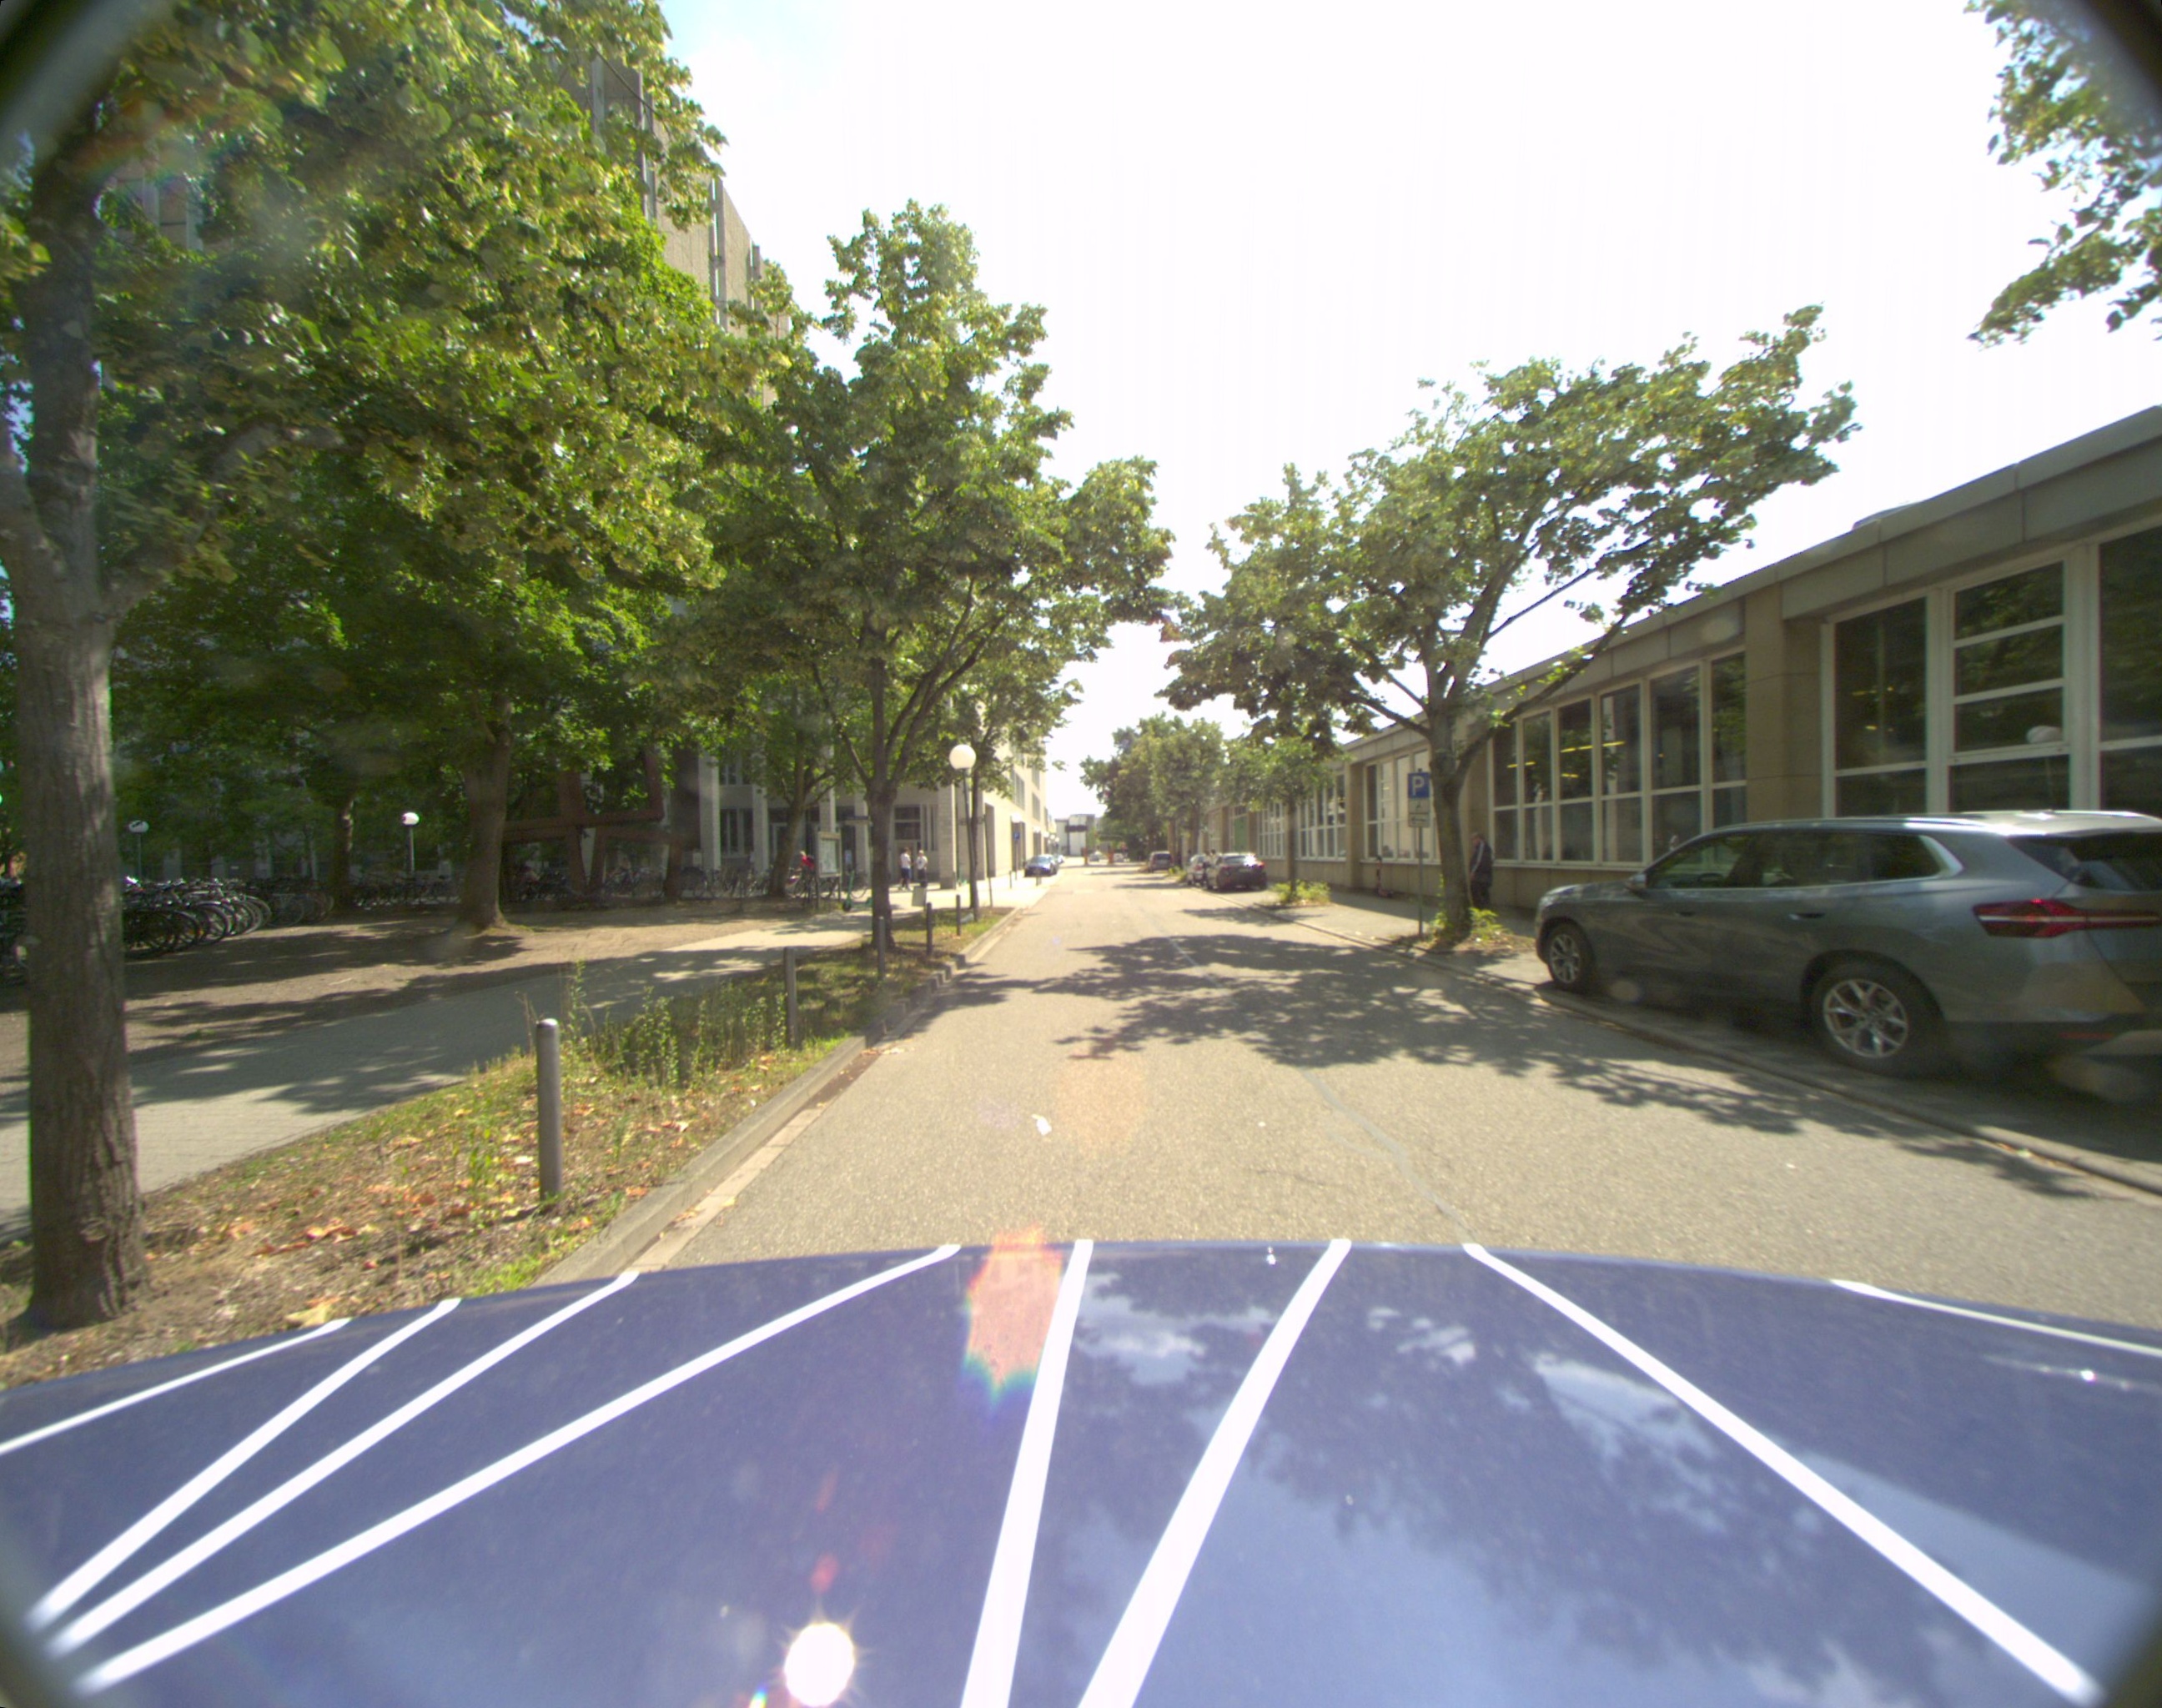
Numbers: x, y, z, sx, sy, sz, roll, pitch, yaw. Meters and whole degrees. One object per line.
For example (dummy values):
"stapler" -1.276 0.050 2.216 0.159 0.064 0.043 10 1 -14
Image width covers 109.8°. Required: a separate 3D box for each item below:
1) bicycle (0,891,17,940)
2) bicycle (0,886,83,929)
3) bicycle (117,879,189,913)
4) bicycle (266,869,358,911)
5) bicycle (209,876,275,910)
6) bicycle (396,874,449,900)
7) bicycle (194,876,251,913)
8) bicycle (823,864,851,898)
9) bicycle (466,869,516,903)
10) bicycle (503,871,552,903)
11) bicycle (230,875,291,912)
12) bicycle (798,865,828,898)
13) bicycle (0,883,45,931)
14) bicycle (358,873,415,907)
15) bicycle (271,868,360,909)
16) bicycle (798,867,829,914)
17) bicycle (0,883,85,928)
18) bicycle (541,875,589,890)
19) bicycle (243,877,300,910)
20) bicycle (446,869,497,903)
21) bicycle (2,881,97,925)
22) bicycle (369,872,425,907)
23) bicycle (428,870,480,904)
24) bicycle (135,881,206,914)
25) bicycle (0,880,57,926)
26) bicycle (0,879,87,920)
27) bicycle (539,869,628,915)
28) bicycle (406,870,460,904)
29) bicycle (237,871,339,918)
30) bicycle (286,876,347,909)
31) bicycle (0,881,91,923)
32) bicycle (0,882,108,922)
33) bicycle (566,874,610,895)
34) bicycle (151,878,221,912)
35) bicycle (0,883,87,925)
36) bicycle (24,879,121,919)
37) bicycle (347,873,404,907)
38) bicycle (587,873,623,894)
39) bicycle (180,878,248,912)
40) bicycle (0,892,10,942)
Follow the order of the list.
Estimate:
"bicycle" -22.739 1.269 15.024 1.908 0.973 0.477 0 1 -43
"bicycle" -25.477 1.286 18.174 0.477 0.973 1.908 1 1 41
"bicycle" -32.890 1.472 26.970 0.529 1.077 1.688 -3 0 -4
"bicycle" -22.620 1.045 22.381 1.849 1.163 0.412 -1 0 -38
"bicycle" -29.228 1.344 26.505 0.478 1.077 1.688 -3 0 -4
"bicycle" -29.722 1.500 34.311 1.832 1.097 0.570 -2 -1 -2
"bicycle" -26.991 1.266 23.909 0.353 1.077 1.470 -1 0 -12
"bicycle" -8.507 0.928 26.546 0.561 1.135 1.489 1 1 -2
"bicycle" -20.714 1.112 26.711 0.454 1.123 1.688 -3 0 -4
"bicycle" -19.268 1.125 26.475 0.501 1.041 1.688 -3 -1 -4
"bicycle" -25.974 1.236 24.073 0.352 1.077 1.471 -1 0 -3
"bicycle" -9.431 0.946 26.805 0.561 1.134 1.490 1 -1 -2
"bicycle" -23.114 1.119 15.717 1.907 0.973 0.477 0 1 -37
"bicycle" -24.148 1.239 26.459 0.454 1.123 1.688 -3 0 -4
"bicycle" -23.071 1.033 22.940 1.849 1.163 0.412 -1 0 -38
"bicycle" -7.113 0.944 20.187 0.629 1.078 1.684 -3 4 -22
"bicycle" -24.725 1.189 17.613 1.908 0.973 0.477 0 1 -44
"bicycle" -27.014 1.491 39.821 1.990 0.755 0.643 0 -1 -9
"bicycle" -28.415 1.359 26.702 0.479 1.077 1.687 -3 0 -13
"bicycle" -21.363 1.116 26.664 0.454 1.123 1.688 -3 0 -4
"bicycle" -28.213 1.332 20.805 0.477 1.077 1.474 -4 0 33
"bicycle" -23.632 1.200 26.296 0.454 1.123 1.688 -3 0 -4
"bicycle" -21.947 1.150 26.616 0.454 1.123 1.688 -3 0 -4
"bicycle" -32.357 1.513 27.044 0.529 1.077 1.688 -3 0 -4
"bicycle" -23.993 1.094 16.577 0.477 0.973 1.908 1 1 41
"bicycle" -30.087 1.306 22.019 0.352 1.077 1.474 -3 0 29
"bicycle" -13.366 0.998 20.441 1.928 1.103 0.631 -2 2 -36
"bicycle" -22.517 1.131 26.429 0.454 1.123 1.688 -3 0 -4
"bicycle" -21.315 1.076 20.463 1.849 1.163 0.412 -1 0 -38
"bicycle" -26.940 1.342 26.811 0.478 1.077 1.688 -3 0 -4
"bicycle" -29.193 1.339 21.410 1.474 1.077 0.453 -3 0 -34
"bicycle" -27.315 1.247 20.080 1.907 0.973 0.477 0 1 -37
"bicycle" -22.685 1.380 34.968 0.447 0.894 1.779 -2 0 19
"bicycle" -31.088 1.404 26.422 0.478 1.077 1.688 -3 0 -4
"bicycle" -26.603 1.259 19.107 0.477 0.973 1.908 1 1 41
"bicycle" -30.646 1.356 23.113 0.477 1.077 1.691 -4 0 32
"bicycle" -24.684 1.242 26.625 0.478 1.123 1.688 -3 0 -4
"bicycle" -21.851 1.337 34.882 0.337 0.894 1.777 -2 1 6
"bicycle" -30.184 1.405 26.480 0.478 1.077 1.688 -3 0 -4
"bicycle" -22.479 1.271 14.737 1.908 0.973 0.477 0 1 -43
